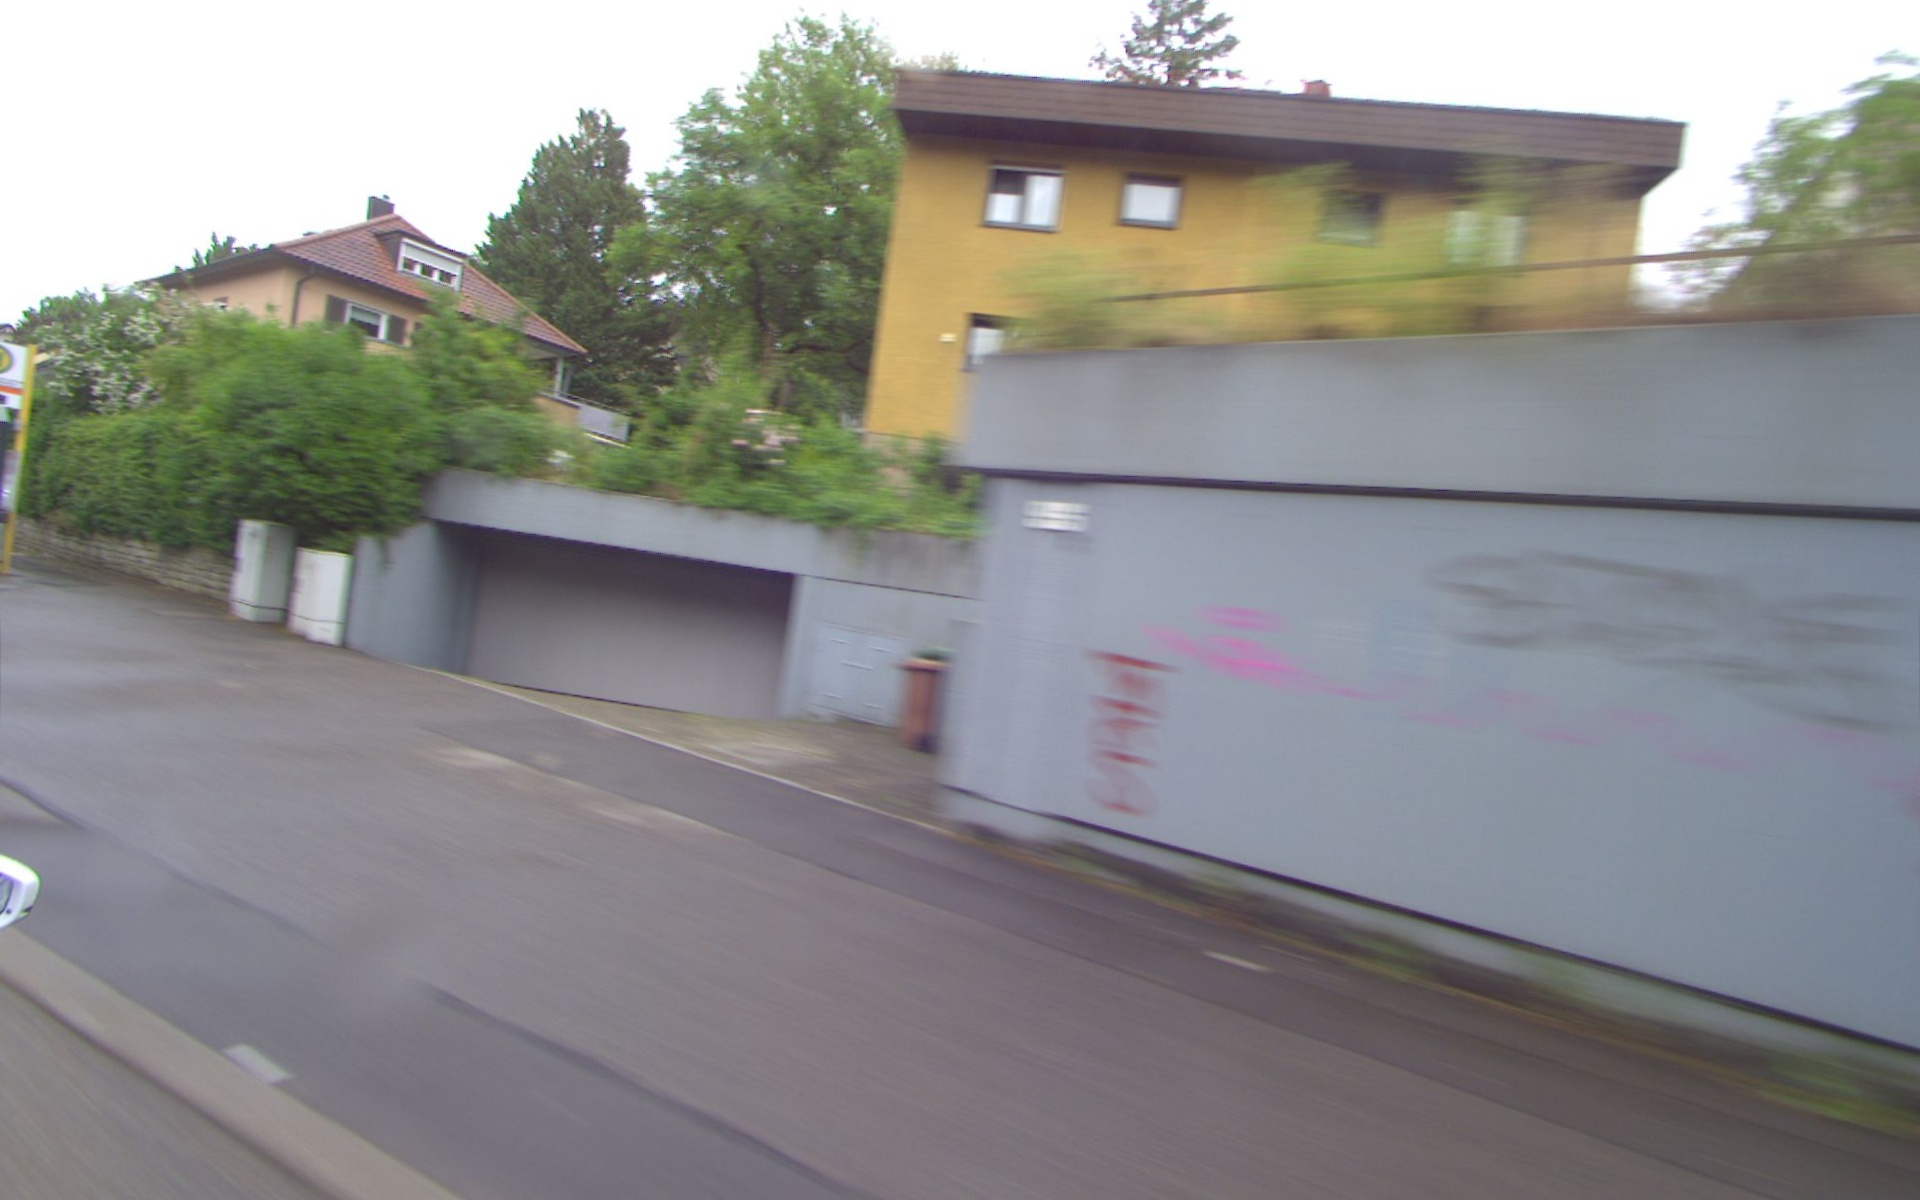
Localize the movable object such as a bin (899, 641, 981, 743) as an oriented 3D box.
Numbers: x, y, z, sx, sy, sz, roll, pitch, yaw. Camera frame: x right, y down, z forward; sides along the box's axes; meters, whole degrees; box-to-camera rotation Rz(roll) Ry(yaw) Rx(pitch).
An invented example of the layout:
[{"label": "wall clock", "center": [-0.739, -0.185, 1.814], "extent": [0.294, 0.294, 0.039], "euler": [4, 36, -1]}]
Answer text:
[{"label": "movable object such as a bin", "center": [-0.227, 1.047, 11.466], "extent": [0.625, 1.048, 0.528], "euler": [7, -1, 32]}]

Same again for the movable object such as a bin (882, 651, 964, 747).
[{"label": "movable object such as a bin", "center": [-0.387, 1.040, 10.591], "extent": [0.556, 0.917, 0.528], "euler": [7, -1, 32]}]
